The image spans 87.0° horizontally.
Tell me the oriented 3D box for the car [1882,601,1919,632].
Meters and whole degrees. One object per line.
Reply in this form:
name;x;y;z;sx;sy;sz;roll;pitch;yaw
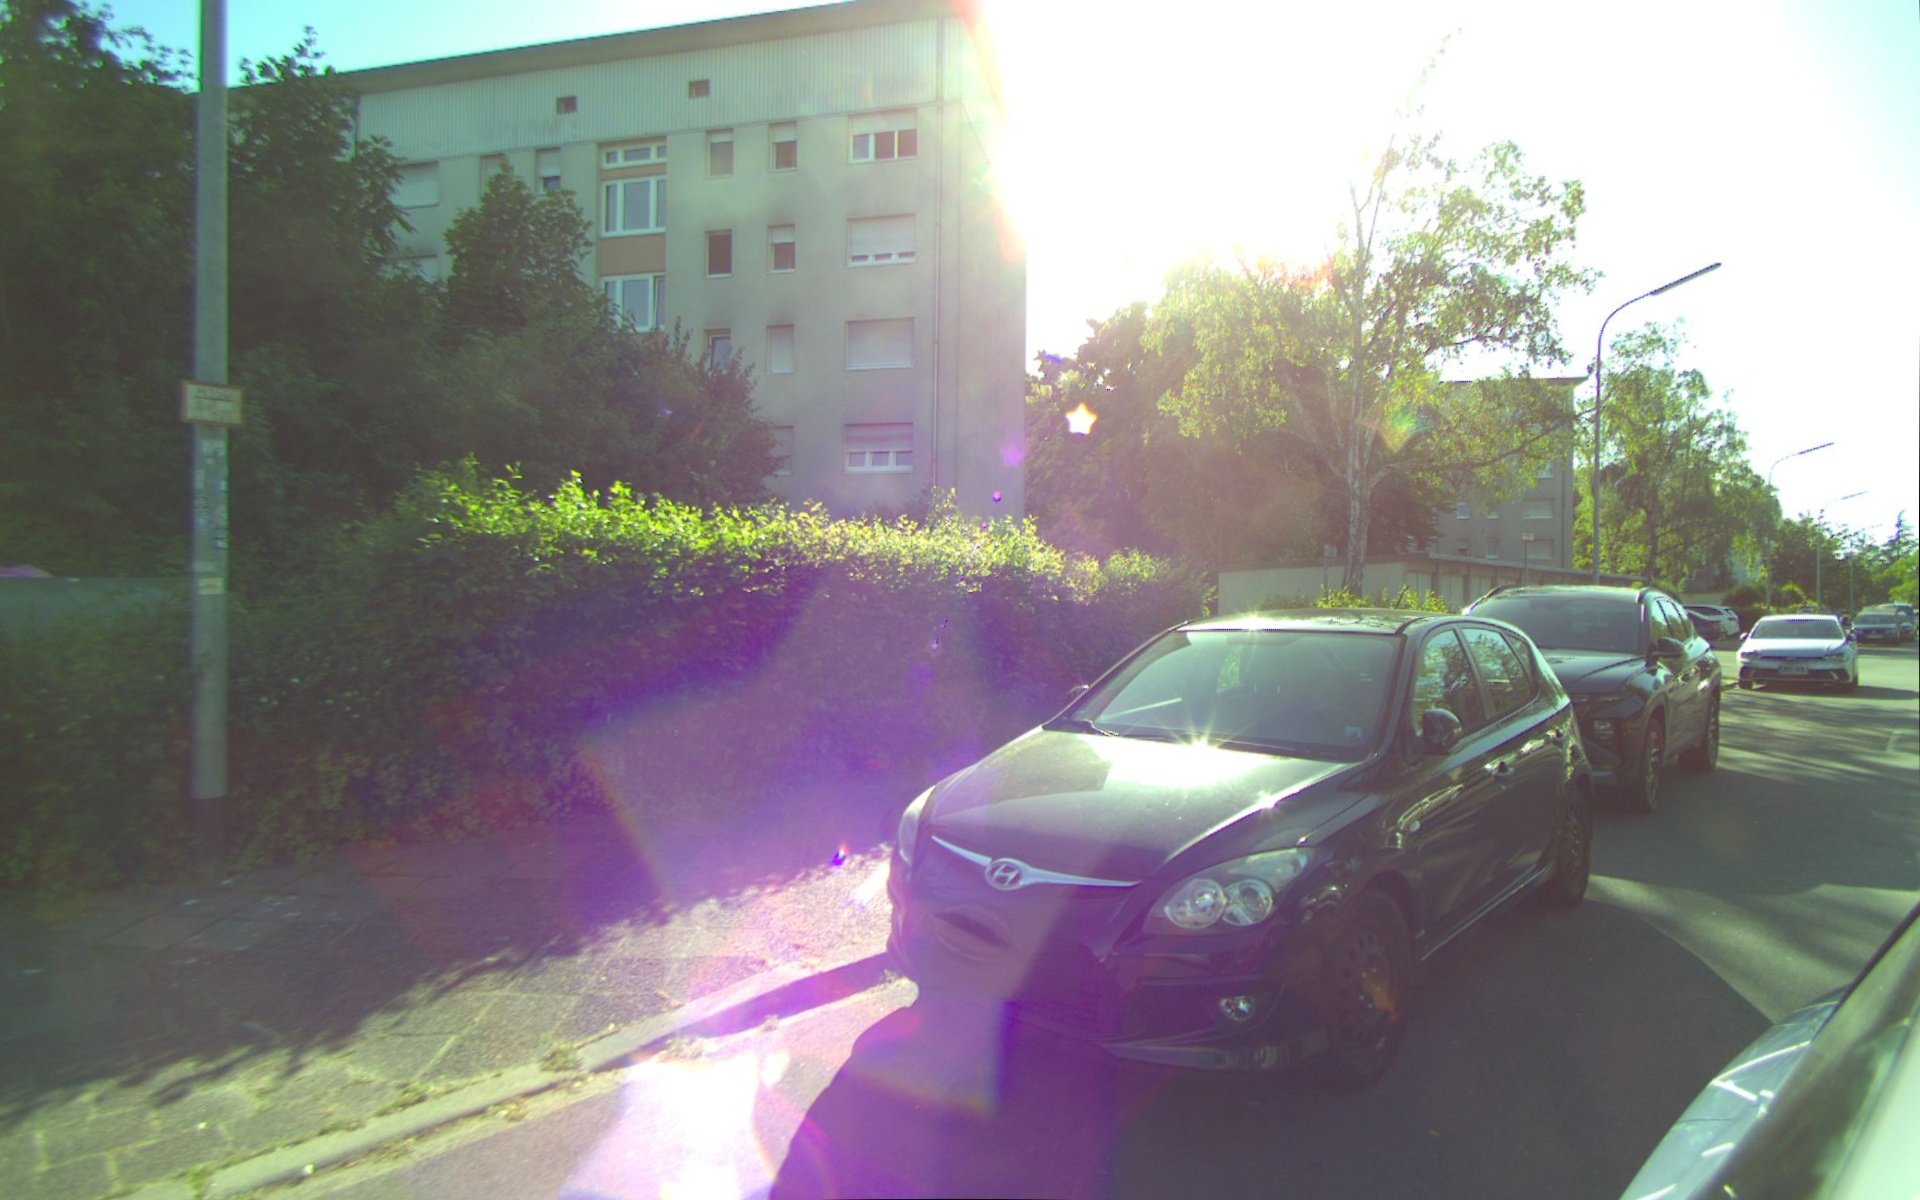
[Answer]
car;48.525;0.822;51.922;1.730;1.509;4.432;-2;-2;42

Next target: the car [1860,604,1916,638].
car;40.558;0.907;44.271;1.730;1.421;3.835;-2;-1;42

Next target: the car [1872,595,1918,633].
car;43.597;0.644;47.176;1.489;1.740;2.541;-2;-2;44

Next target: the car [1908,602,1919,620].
car;82.191;0.916;86.284;3.732;1.514;1.805;0;-1;-44

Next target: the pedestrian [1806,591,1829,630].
pedestrian;43.257;0.515;51.050;0.858;1.912;0.704;1;2;-44

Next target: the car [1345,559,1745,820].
car;5.253;0.579;8.769;1.908;1.660;4.553;-1;-1;45

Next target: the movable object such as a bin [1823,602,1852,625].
movable object such as a bin;55.486;0.851;63.996;1.360;1.326;1.030;1;3;-35

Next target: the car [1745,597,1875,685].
car;16.723;0.746;19.846;1.752;1.533;4.041;-2;-2;42

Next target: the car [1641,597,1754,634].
car;33.214;0.665;45.652;3.942;1.532;1.800;2;1;43

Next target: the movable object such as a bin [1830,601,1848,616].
movable object such as a bin;85.676;0.820;98.627;1.322;1.449;1.015;0;-1;40

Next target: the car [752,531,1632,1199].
car;1.399;0.624;4.543;1.908;1.550;4.258;-1;-1;45

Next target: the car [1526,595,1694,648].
car;21.525;0.659;33.649;1.798;1.532;4.419;1;1;-44

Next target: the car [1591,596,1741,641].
car;27.344;0.676;39.304;1.798;1.532;4.518;1;1;-43
